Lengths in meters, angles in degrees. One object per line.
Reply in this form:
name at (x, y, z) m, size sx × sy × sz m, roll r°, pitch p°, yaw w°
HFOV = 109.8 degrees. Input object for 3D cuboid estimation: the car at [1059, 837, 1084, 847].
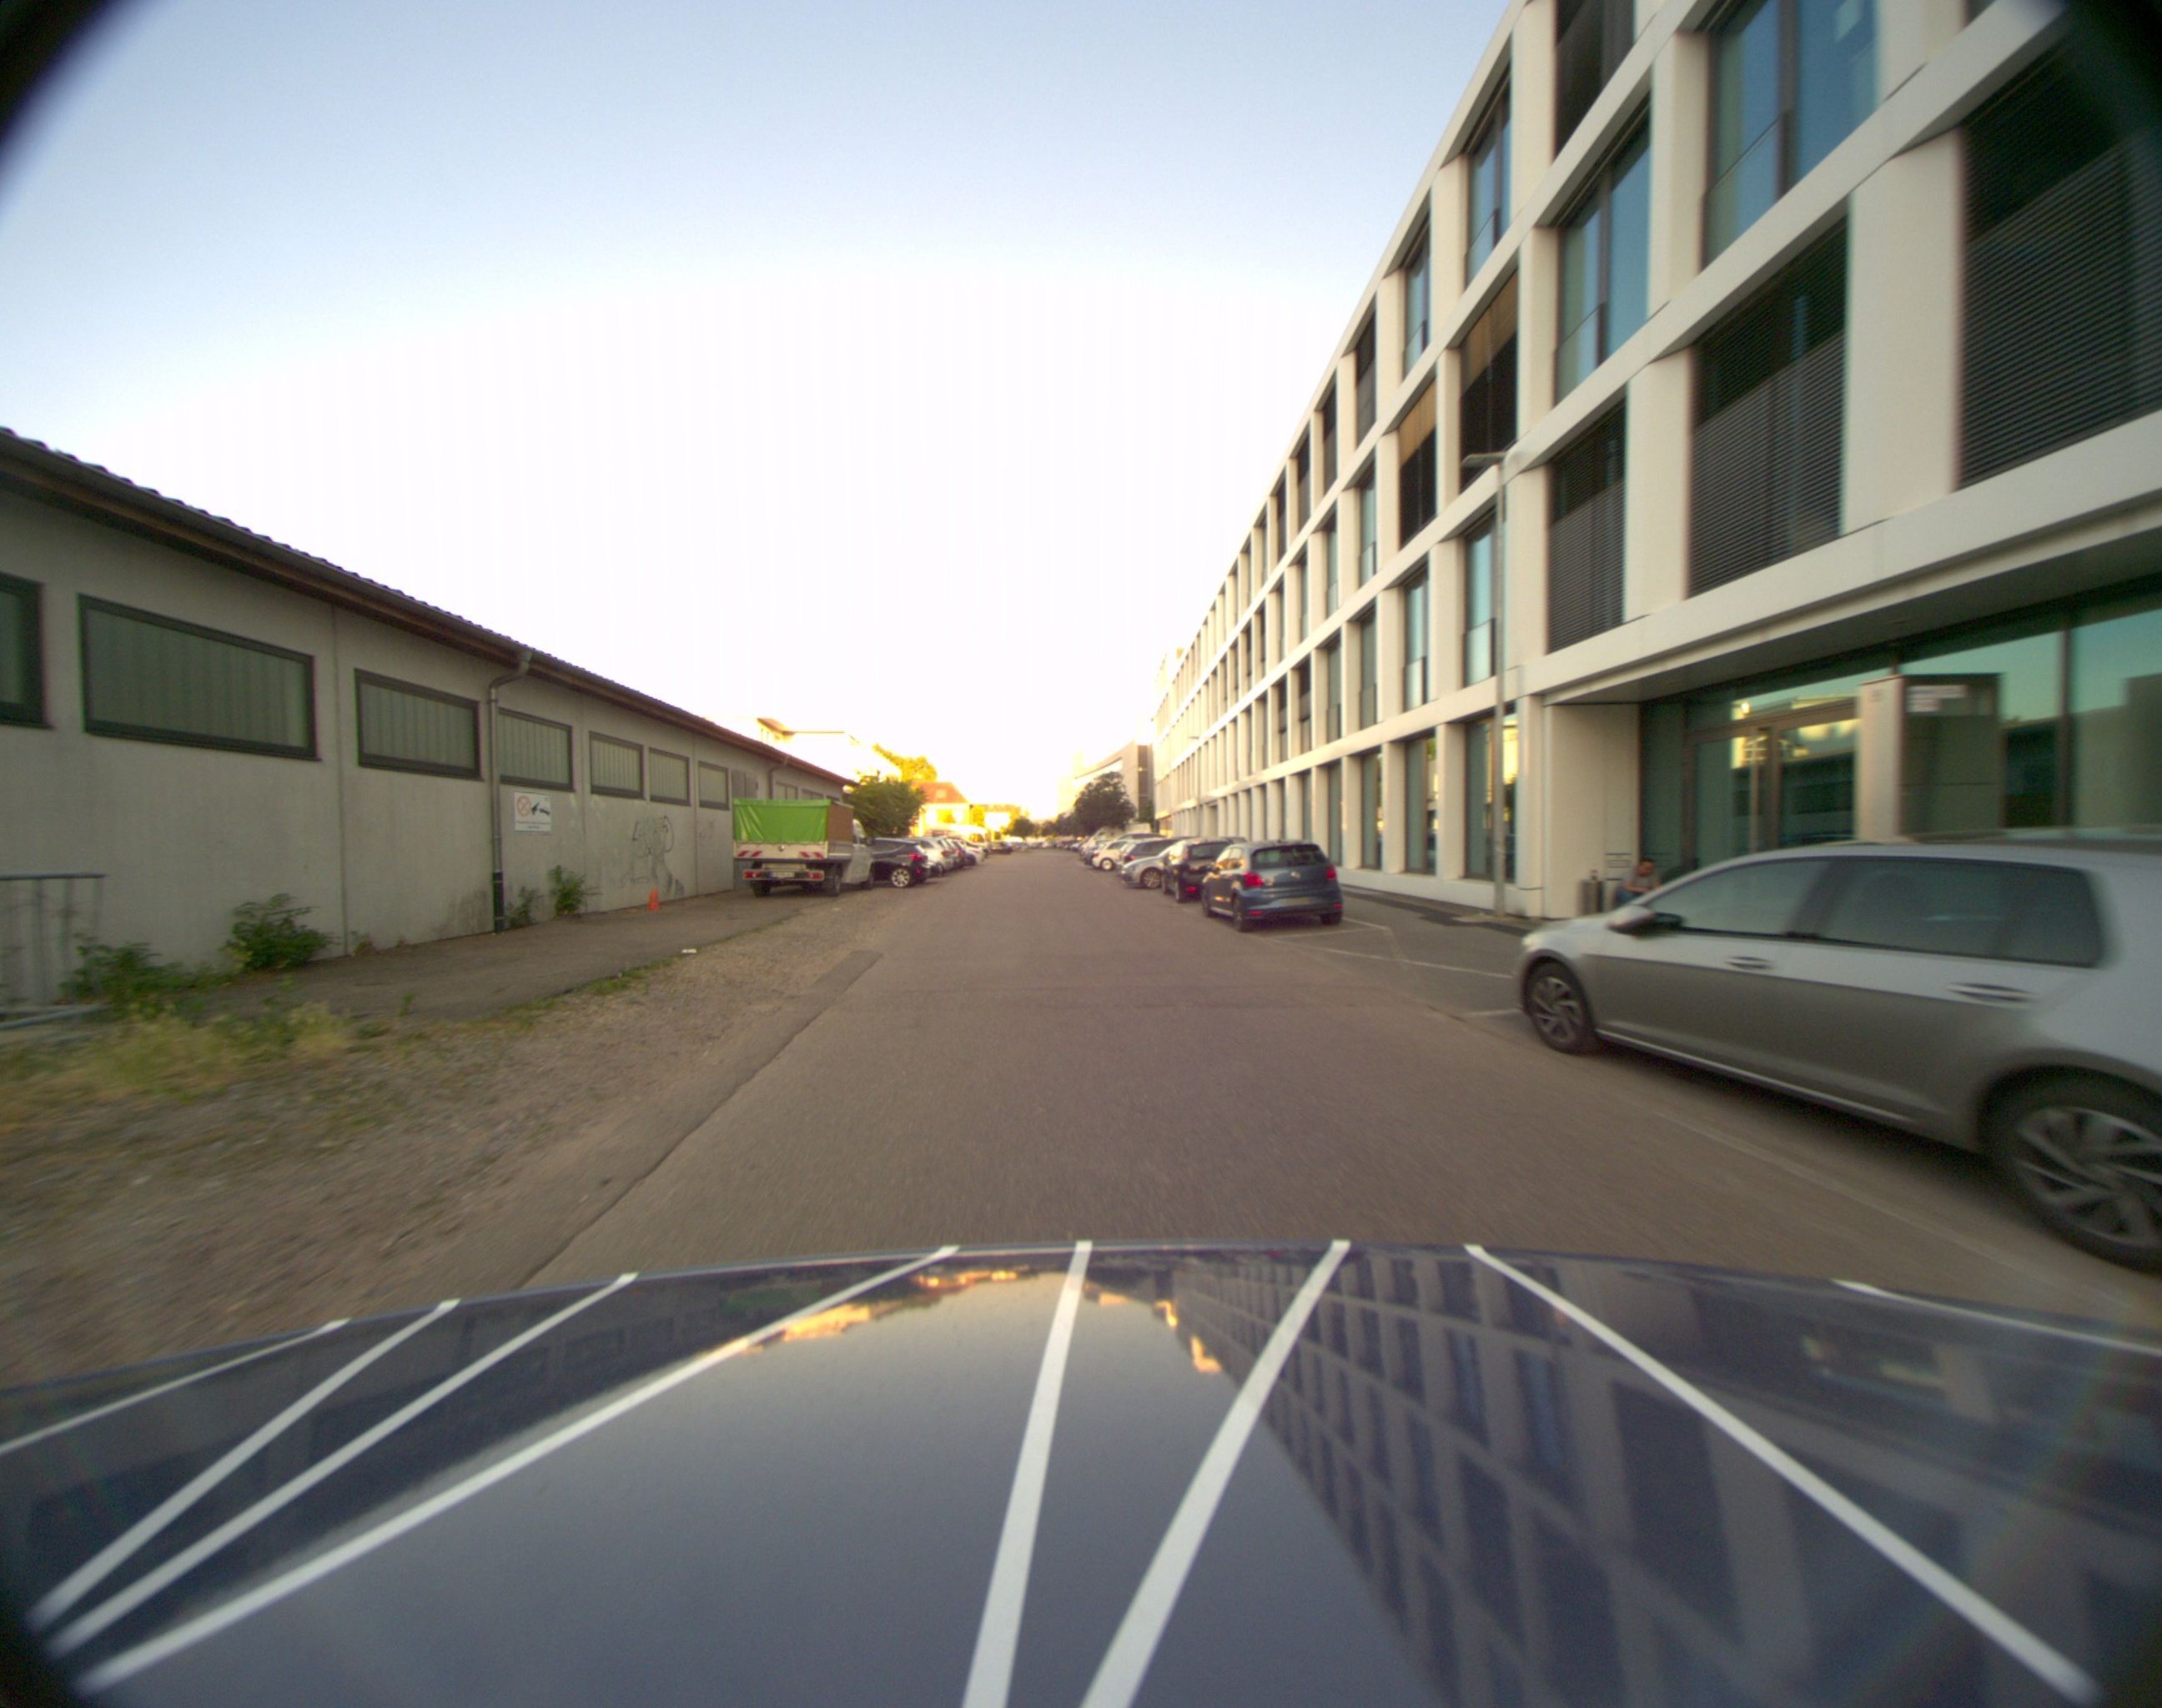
car at (-1.726, -2.173, 134.390) m, size 4.029 × 1.574 × 1.797 m, roll -2°, pitch 2°, yaw -12°

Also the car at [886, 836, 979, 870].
car at (-7.348, -0.073, 37.939) m, size 4.213 × 1.495 × 1.889 m, roll -1°, pitch 2°, yaw -1°

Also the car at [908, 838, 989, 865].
car at (-7.436, -0.149, 42.905) m, size 4.213 × 1.359 × 1.823 m, roll -1°, pitch 1°, yaw 1°

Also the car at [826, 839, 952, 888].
car at (-6.314, 0.281, 25.337) m, size 3.770 × 1.436 × 1.844 m, roll -2°, pitch 2°, yaw -4°

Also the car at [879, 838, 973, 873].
car at (-7.165, 0.038, 35.426) m, size 3.994 × 1.437 × 1.826 m, roll -1°, pitch 2°, yaw -2°

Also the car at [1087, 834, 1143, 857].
car at (2.301, -0.572, 52.272) m, size 3.717 × 1.487 × 1.707 m, roll -2°, pitch 1°, yaw -1°

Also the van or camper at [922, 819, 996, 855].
van or camper at (-10.047, -1.379, 63.096) m, size 5.797 × 2.848 × 2.485 m, roll 1°, pitch 2°, yaw -4°

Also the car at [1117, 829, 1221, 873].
car at (3.238, -0.121, 28.394) m, size 3.664 × 1.502 × 1.687 m, roll -2°, pitch 1°, yaw 0°

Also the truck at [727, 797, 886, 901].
truck at (-6.508, -0.104, 18.871) m, size 2.103 × 2.187 × 5.709 m, roll 0°, pitch 0°, yaw -3°

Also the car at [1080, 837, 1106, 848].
car at (1.684, -1.646, 108.892) m, size 3.655 × 1.416 × 1.725 m, roll -2°, pitch 1°, yaw -3°

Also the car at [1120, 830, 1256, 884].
car at (3.241, 0.083, 23.483) m, size 3.936 × 1.502 × 1.687 m, roll -2°, pitch 1°, yaw 0°

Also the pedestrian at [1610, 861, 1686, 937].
pedestrian at (7.895, 0.614, 10.612) m, size 0.588 × 1.013 × 0.629 m, roll 0°, pitch 2°, yaw 4°

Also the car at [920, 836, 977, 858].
car at (-9.155, -0.470, 52.625) m, size 3.715 × 1.470 × 1.711 m, roll 1°, pitch 1°, yaw -4°

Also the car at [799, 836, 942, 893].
car at (-6.249, 0.292, 22.903) m, size 3.769 × 1.527 × 1.890 m, roll -1°, pitch 3°, yaw -1°

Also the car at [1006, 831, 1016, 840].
car at (-12.286, -3.217, 132.814) m, size 1.771 × 1.454 × 4.365 m, roll 0°, pitch 1°, yaw -6°

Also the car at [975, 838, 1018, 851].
car at (-8.521, -0.963, 76.941) m, size 4.328 × 1.326 × 1.895 m, roll 1°, pitch 2°, yaw -4°

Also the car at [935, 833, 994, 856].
car at (-9.202, -0.766, 60.220) m, size 4.250 × 1.731 × 1.967 m, roll 1°, pitch 2°, yaw 2°

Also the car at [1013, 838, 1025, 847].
car at (-10.133, -1.884, 123.597) m, size 1.771 × 1.454 × 4.365 m, roll 0°, pitch 1°, yaw -6°

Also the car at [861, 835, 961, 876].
car at (-7.270, 0.020, 32.807) m, size 3.996 × 1.610 × 1.826 m, roll -2°, pitch 2°, yaw -6°

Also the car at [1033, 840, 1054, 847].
car at (-7.558, -2.149, 153.938) m, size 4.029 × 1.340 × 1.797 m, roll -2°, pitch 1°, yaw -12°

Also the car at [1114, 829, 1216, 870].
car at (3.364, -0.182, 31.008) m, size 3.974 × 1.502 × 1.795 m, roll -2°, pitch 1°, yaw 1°

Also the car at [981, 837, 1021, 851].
car at (-8.328, -1.034, 79.371) m, size 4.067 × 1.399 × 1.895 m, roll 1°, pitch 1°, yaw -4°

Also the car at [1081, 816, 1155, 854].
car at (2.753, -1.415, 56.870) m, size 5.394 × 2.618 × 2.078 m, roll -2°, pitch 1°, yaw 0°

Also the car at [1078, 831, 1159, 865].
car at (1.760, -0.284, 35.899) m, size 3.675 × 1.502 × 1.696 m, roll -1°, pitch 1°, yaw 3°

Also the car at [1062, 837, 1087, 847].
car at (-1.122, -2.054, 129.363) m, size 4.029 × 1.574 × 1.797 m, roll -2°, pitch 2°, yaw -12°

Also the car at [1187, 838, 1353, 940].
car at (3.171, 0.489, 13.655) m, size 1.652 × 1.431 × 4.182 m, roll -4°, pitch 1°, yaw -3°

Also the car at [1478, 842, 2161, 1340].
car at (4.136, 0.736, 3.857) m, size 1.715 × 1.470 × 4.182 m, roll -4°, pitch 1°, yaw -5°

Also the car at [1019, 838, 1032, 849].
car at (-7.696, -1.447, 104.831) m, size 1.681 × 1.454 × 4.366 m, roll 0°, pitch 1°, yaw -3°

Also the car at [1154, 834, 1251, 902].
car at (2.991, 0.274, 19.533) m, size 1.652 × 1.431 × 4.200 m, roll -4°, pitch 1°, yaw -1°

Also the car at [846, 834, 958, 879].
car at (-7.011, 0.075, 30.140) m, size 3.995 × 1.600 × 1.938 m, roll -2°, pitch 2°, yaw -4°

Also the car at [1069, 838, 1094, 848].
car at (0.103, -1.726, 121.168) m, size 3.813 × 1.353 × 1.798 m, roll -2°, pitch 1°, yaw -7°

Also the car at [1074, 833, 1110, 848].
car at (1.573, -1.978, 111.559) m, size 5.084 × 1.870 × 1.887 m, roll -2°, pitch 2°, yaw -7°

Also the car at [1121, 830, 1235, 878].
car at (3.266, -0.021, 26.056) m, size 3.664 × 1.502 × 1.687 m, roll -2°, pitch 1°, yaw 0°

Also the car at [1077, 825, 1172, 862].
car at (2.208, -0.541, 38.458) m, size 4.629 × 1.696 × 2.004 m, roll -1°, pitch 1°, yaw 3°
